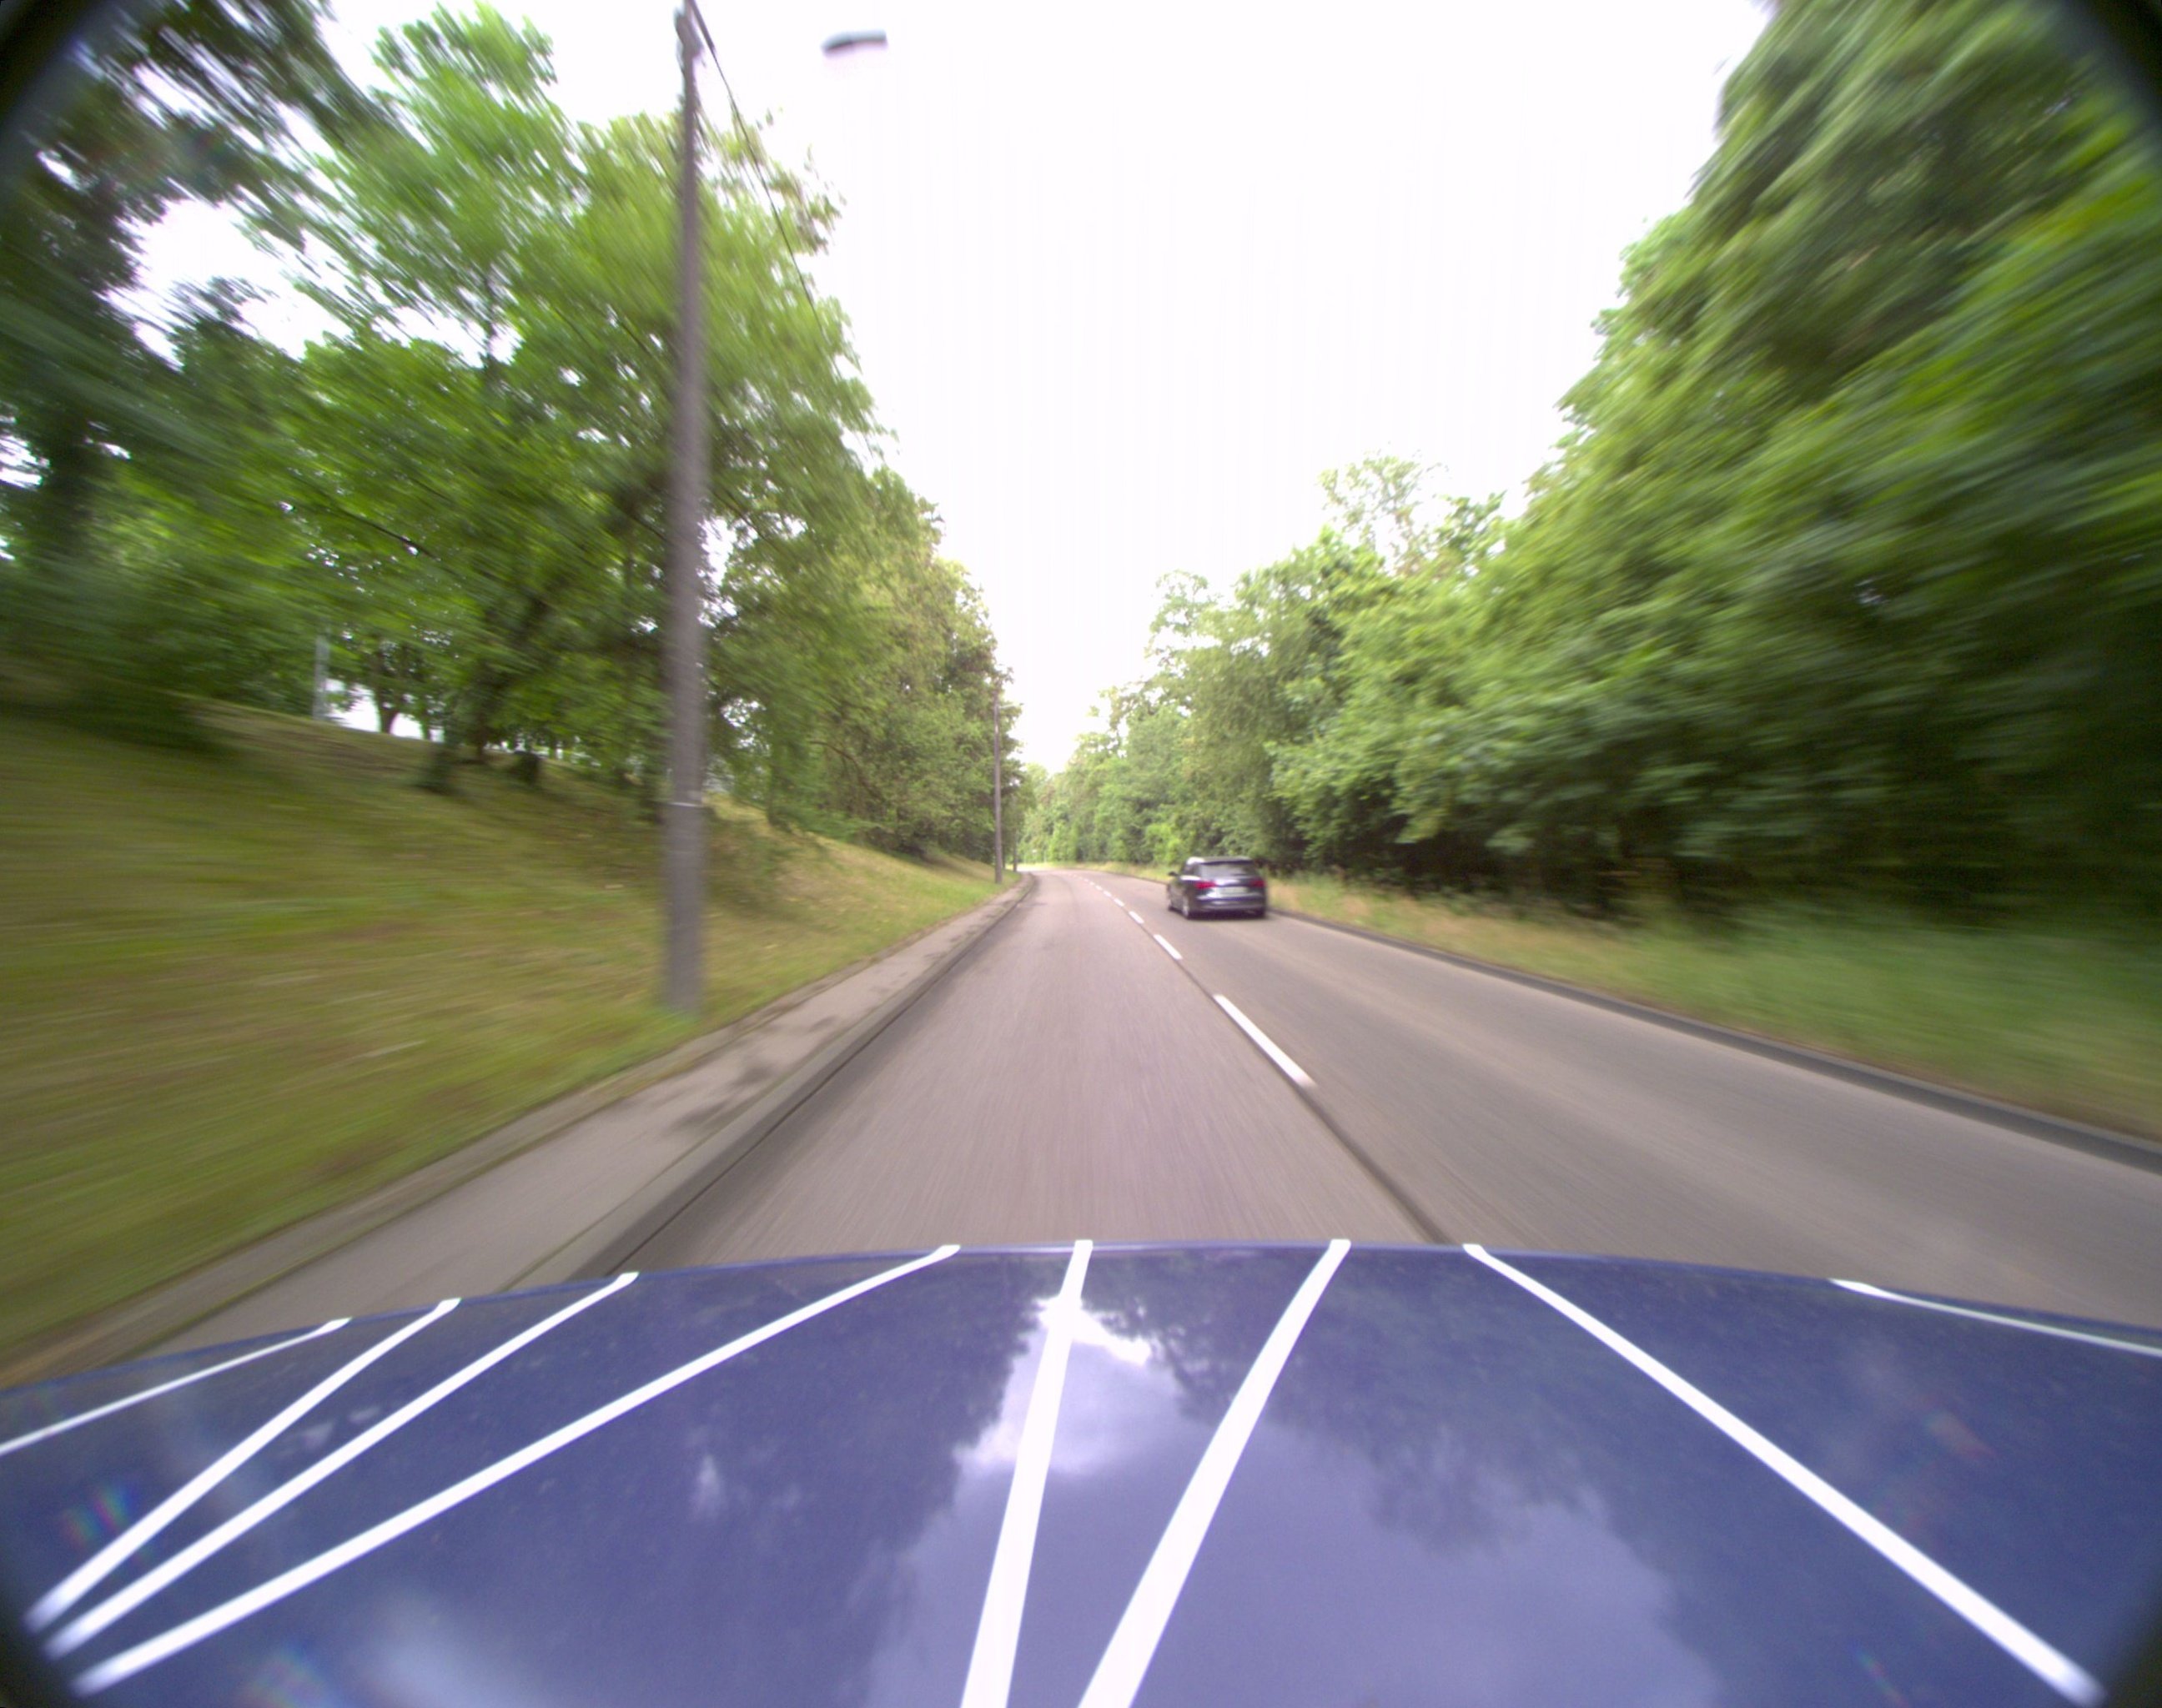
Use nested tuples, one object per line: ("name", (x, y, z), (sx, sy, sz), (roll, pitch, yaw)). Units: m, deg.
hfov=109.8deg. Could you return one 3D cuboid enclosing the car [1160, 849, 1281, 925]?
("car", (3.245, 0.704, 18.657), (2.035, 1.499, 4.594), (-3, 1, 0))
